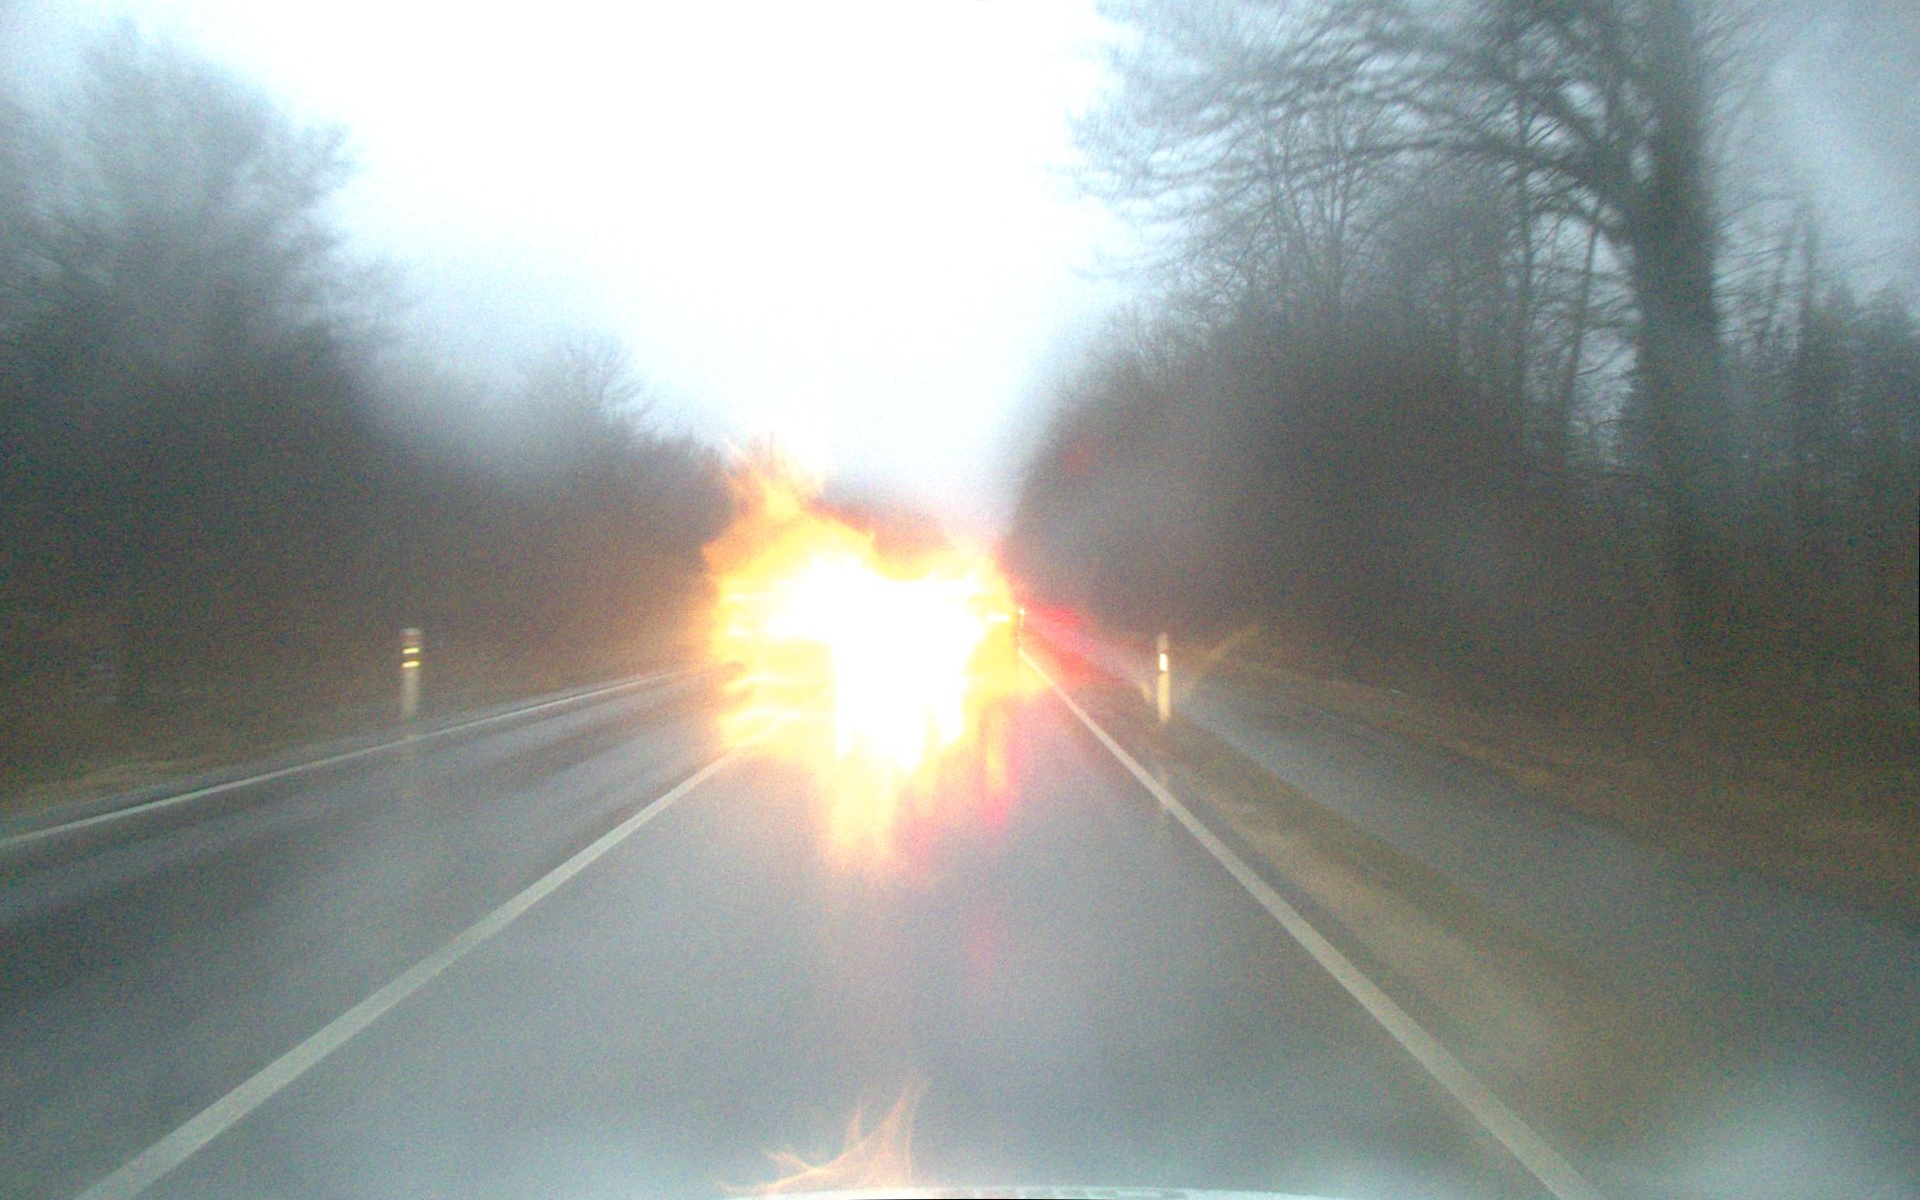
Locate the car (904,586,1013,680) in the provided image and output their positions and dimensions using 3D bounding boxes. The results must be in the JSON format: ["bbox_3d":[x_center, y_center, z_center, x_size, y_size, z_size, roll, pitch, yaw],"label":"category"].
[{"bbox_3d":[-0.017,0.496,26.975,1.644,1.414,4.098,0,0,0],"label":"car"}]

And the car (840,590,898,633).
[{"bbox_3d":[-3.172,0.394,58.303,1.776,1.464,4.098,0,0,1],"label":"car"}]
